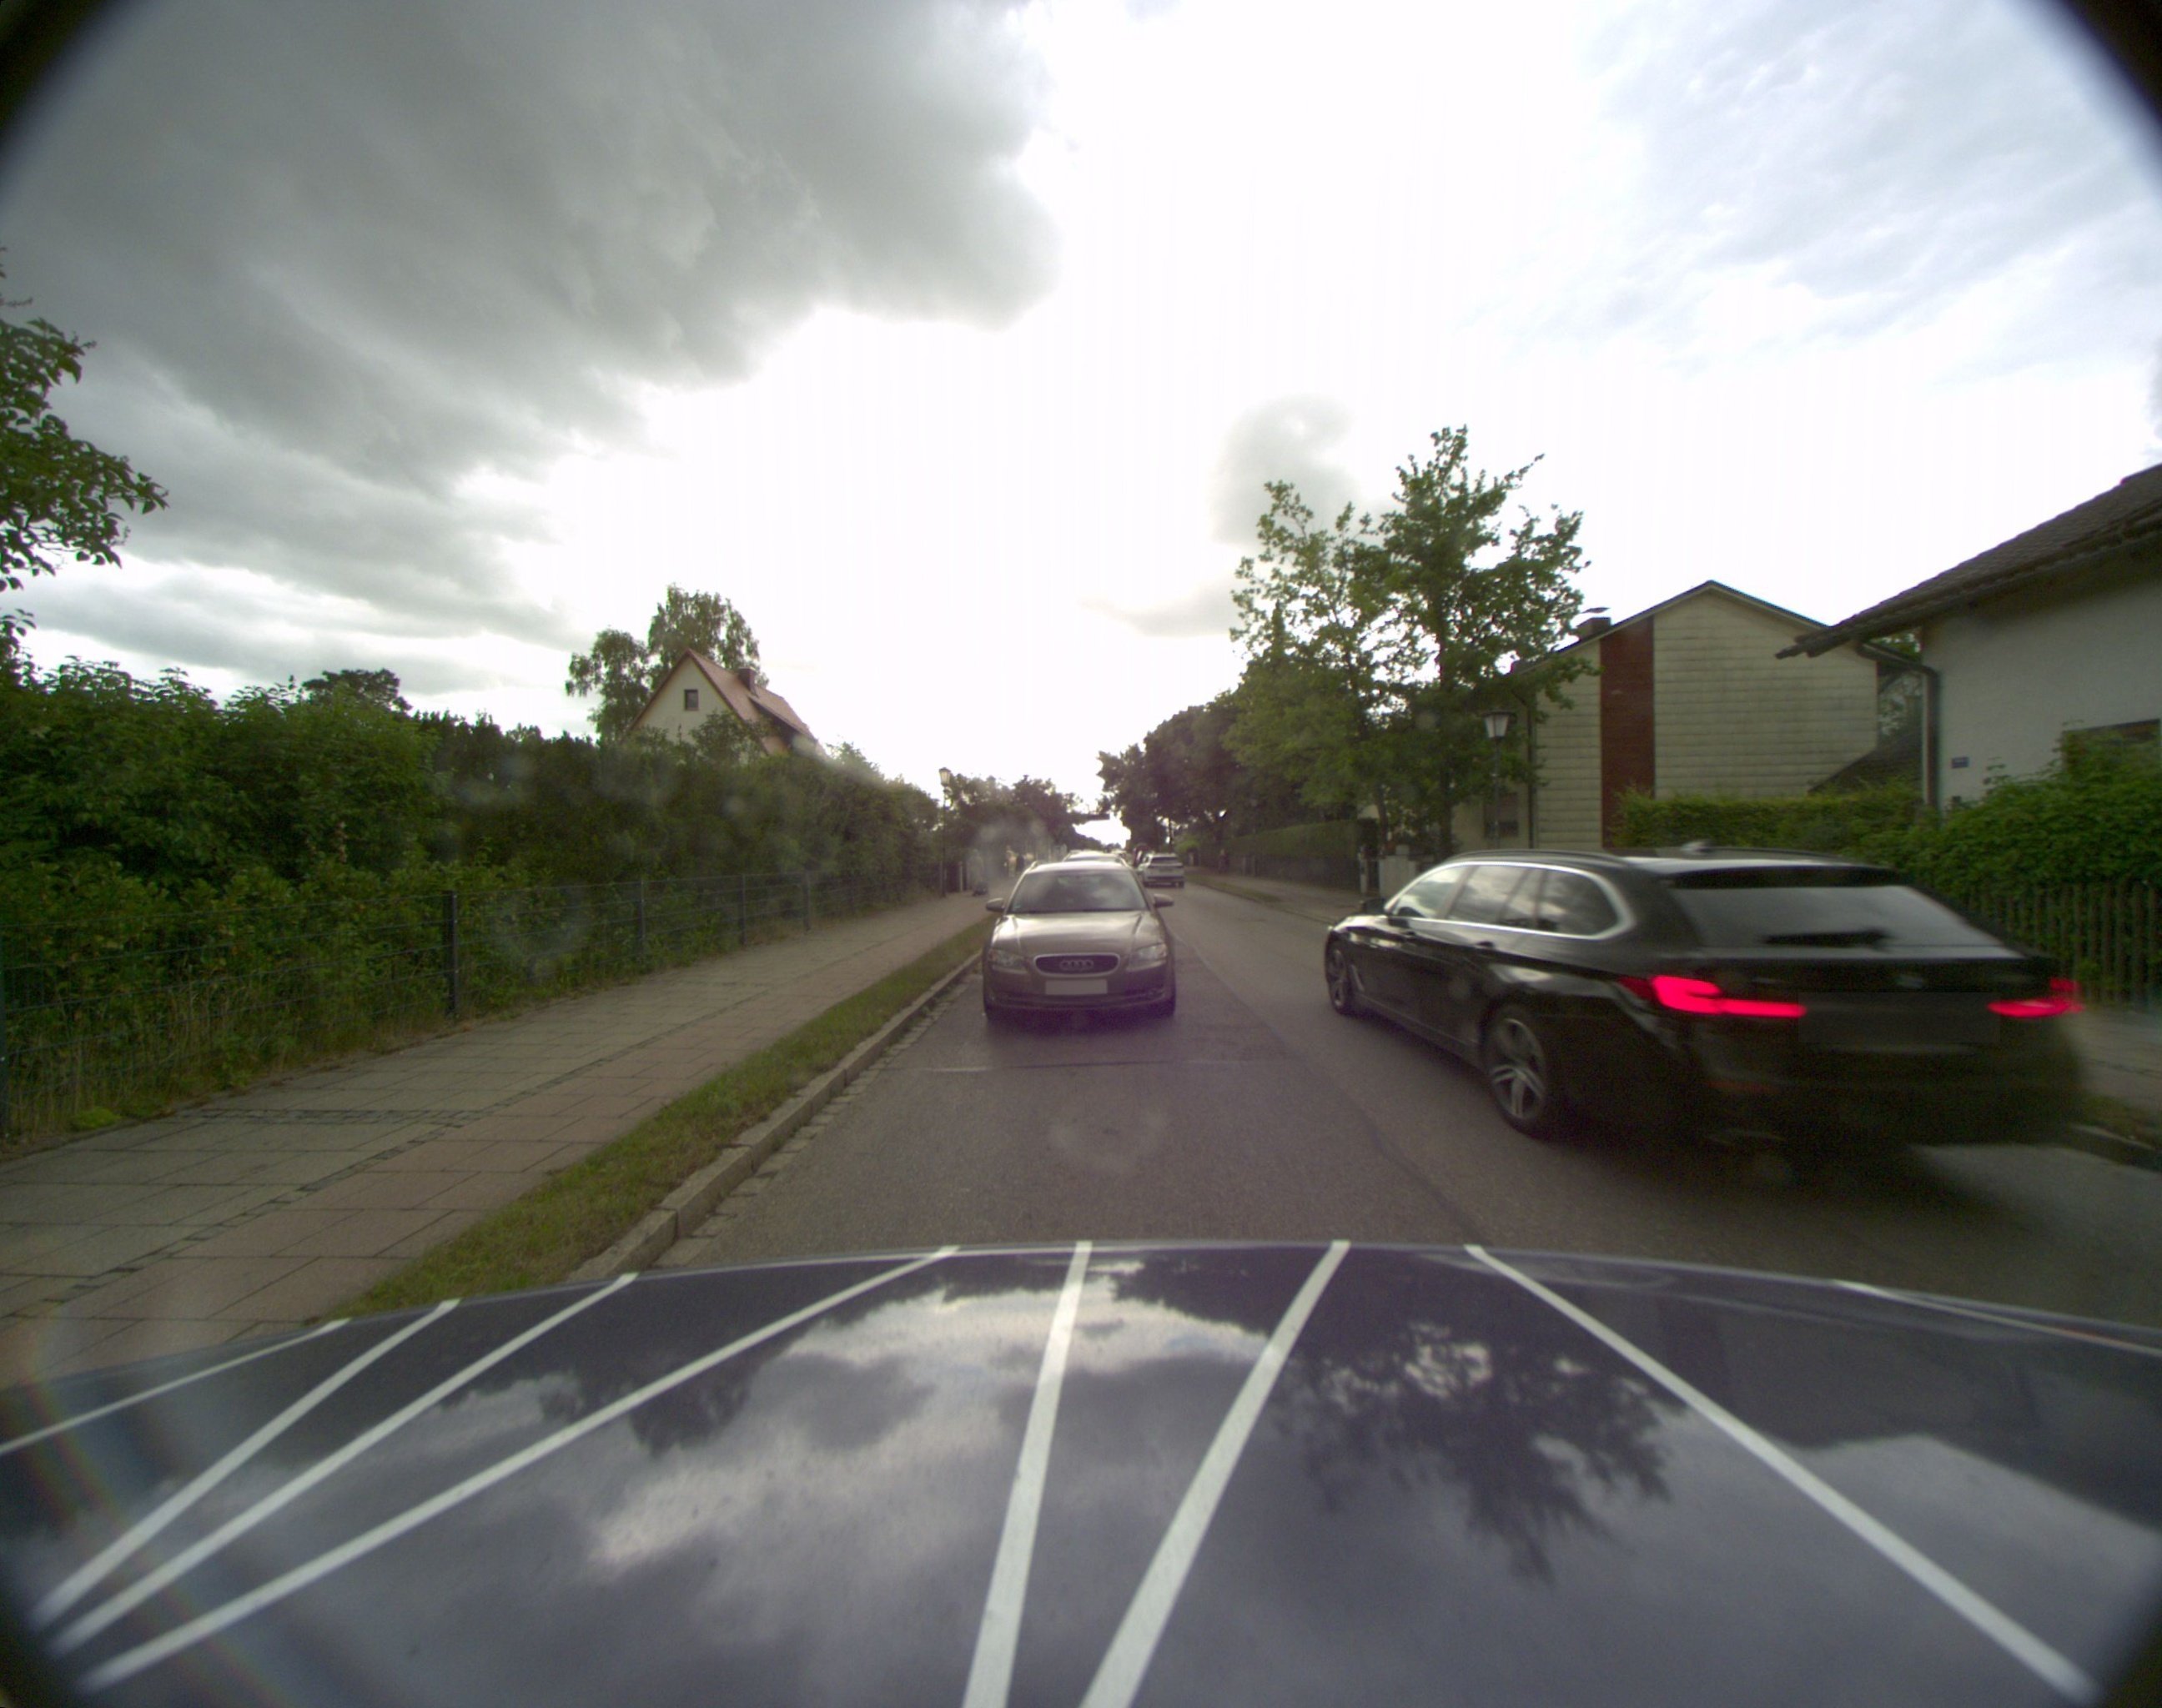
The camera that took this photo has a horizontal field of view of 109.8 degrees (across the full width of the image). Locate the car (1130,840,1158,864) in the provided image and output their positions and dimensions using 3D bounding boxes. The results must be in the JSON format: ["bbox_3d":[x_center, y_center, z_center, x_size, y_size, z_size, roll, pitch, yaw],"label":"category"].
[{"bbox_3d":[6.385,-0.211,77.455,2.246,2.258,4.469,-2,0,-2],"label":"car"}]

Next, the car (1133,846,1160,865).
[{"bbox_3d":[6.136,0.107,71.607,1.999,1.740,3.999,-1,0,-2],"label":"car"}]

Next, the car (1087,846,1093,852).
[{"bbox_3d":[2.776,-1.609,241.668,1.998,2.002,4.000,-1,0,1],"label":"car"}]

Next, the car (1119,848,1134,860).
[{"bbox_3d":[6.300,-0.019,104.793,1.854,1.576,4.000,-1,0,1],"label":"car"}]

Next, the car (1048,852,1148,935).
[{"bbox_3d":[0.349,0.756,17.008,1.866,1.518,4.942,-2,0,0],"label":"car"}]

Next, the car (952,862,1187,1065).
[{"bbox_3d":[-0.070,0.886,8.105,1.809,1.476,4.270,-2,0,0],"label":"car"}]

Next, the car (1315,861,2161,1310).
[{"bbox_3d":[3.151,0.824,4.902,1.851,1.445,4.548,-1,0,0],"label":"car"}]

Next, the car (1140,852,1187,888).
[{"bbox_3d":[3.682,0.674,34.475,1.756,1.475,4.375,0,0,1],"label":"car"}]

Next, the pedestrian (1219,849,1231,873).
[{"bbox_3d":[8.555,0.403,45.155,0.631,1.429,0.563,-1,1,1],"label":"pedestrian"}]

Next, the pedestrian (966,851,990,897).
[{"bbox_3d":[-3.587,0.686,26.571,0.793,1.593,0.671,0,1,-6],"label":"pedestrian"}]

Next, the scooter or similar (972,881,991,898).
[{"bbox_3d":[-3.378,1.204,25.879,0.618,0.553,0.742,-1,0,-6],"label":"scooter or similar"}]

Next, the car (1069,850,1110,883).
[{"bbox_3d":[0.405,0.568,37.672,1.866,1.518,4.122,-2,0,0],"label":"car"}]

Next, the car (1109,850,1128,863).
[{"bbox_3d":[4.146,0.234,85.075,2.029,1.362,4.000,-1,0,2],"label":"car"}]
